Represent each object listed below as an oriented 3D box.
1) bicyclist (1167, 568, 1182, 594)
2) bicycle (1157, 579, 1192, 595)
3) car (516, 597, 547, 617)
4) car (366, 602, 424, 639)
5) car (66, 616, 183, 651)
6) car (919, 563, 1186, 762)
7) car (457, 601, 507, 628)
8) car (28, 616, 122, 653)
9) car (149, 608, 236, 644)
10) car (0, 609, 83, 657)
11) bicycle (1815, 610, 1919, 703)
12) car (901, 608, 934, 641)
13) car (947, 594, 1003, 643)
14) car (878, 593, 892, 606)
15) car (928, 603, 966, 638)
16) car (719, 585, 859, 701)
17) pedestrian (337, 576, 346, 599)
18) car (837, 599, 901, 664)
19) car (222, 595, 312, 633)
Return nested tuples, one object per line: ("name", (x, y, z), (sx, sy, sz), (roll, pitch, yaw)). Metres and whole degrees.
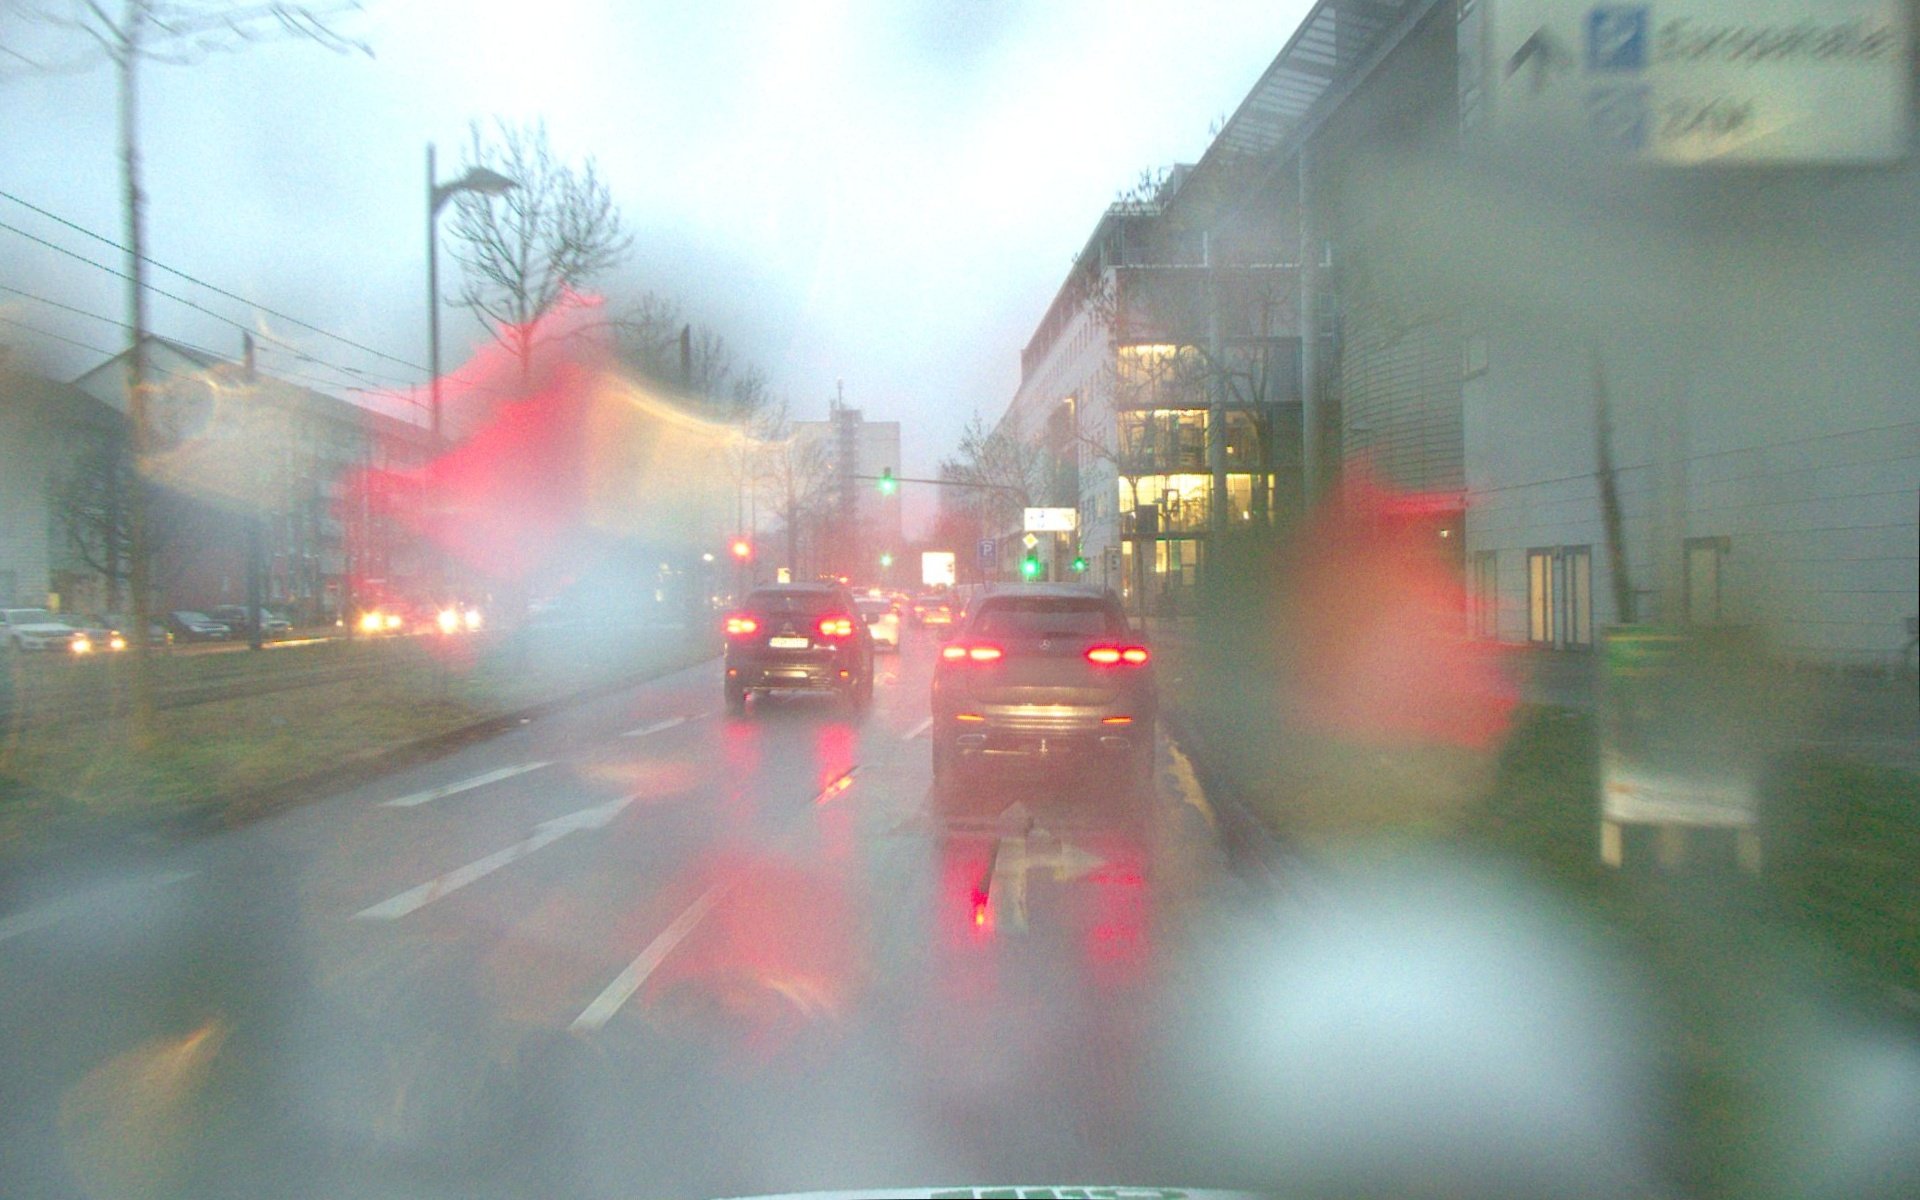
("bicyclist", (11.018, -0.975, 84.911), (0.610, 1.353, 0.564), (1, 0, 30))
("bicycle", (11.006, -0.671, 84.896), (1.696, 0.758, 0.650), (1, 0, 31))
("car", (-35.376, 0.584, 136.582), (1.895, 1.625, 3.722), (1, 0, -6))
("car", (-25.770, 0.920, 75.528), (1.581, 1.651, 3.507), (1, 0, -3))
("car", (-29.815, 1.188, 58.996), (4.096, 1.135, 1.679), (1, 0, 28))
("car", (0.673, 0.491, 14.614), (1.954, 1.509, 3.698), (1, 0, -3))
("car", (-28.688, 0.840, 99.406), (1.843, 1.529, 4.787), (1, 0, -4))
("car", (-29.881, 1.156, 55.843), (2.977, 1.167, 1.395), (1, 0, 28))
("car", (-30.690, 1.024, 66.132), (3.689, 1.360, 1.449), (0, 0, 33))
("car", (-29.877, 1.012, 52.653), (4.039, 1.402, 1.767), (1, 0, 34))
("bicycle", (11.289, 0.671, 19.960), (1.773, 1.070, 0.396), (-1, 0, -5))
("car", (-2.113, 1.199, 81.438), (1.582, 1.548, 3.406), (1, 0, -2))
("car", (0.492, 0.596, 56.209), (1.829, 1.570, 3.610), (1, 0, 0))
("car", (-8.923, -0.084, 196.925), (1.517, 1.535, 3.385), (1, 0, -2))
("car", (-0.626, 0.904, 75.615), (1.591, 1.524, 3.524), (1, 0, -2))
("car", (-2.373, 0.558, 23.463), (1.782, 1.476, 3.996), (1, 0, -5))
("pedestrian", (-32.769, -0.665, 87.626), (0.344, 1.205, 0.427), (1, -1, -43))
("car", (-2.449, 0.809, 44.767), (1.656, 1.664, 3.471), (1, 0, -3))
("car", (-30.320, 0.616, 72.342), (3.715, 1.583, 1.739), (1, 0, 30))
